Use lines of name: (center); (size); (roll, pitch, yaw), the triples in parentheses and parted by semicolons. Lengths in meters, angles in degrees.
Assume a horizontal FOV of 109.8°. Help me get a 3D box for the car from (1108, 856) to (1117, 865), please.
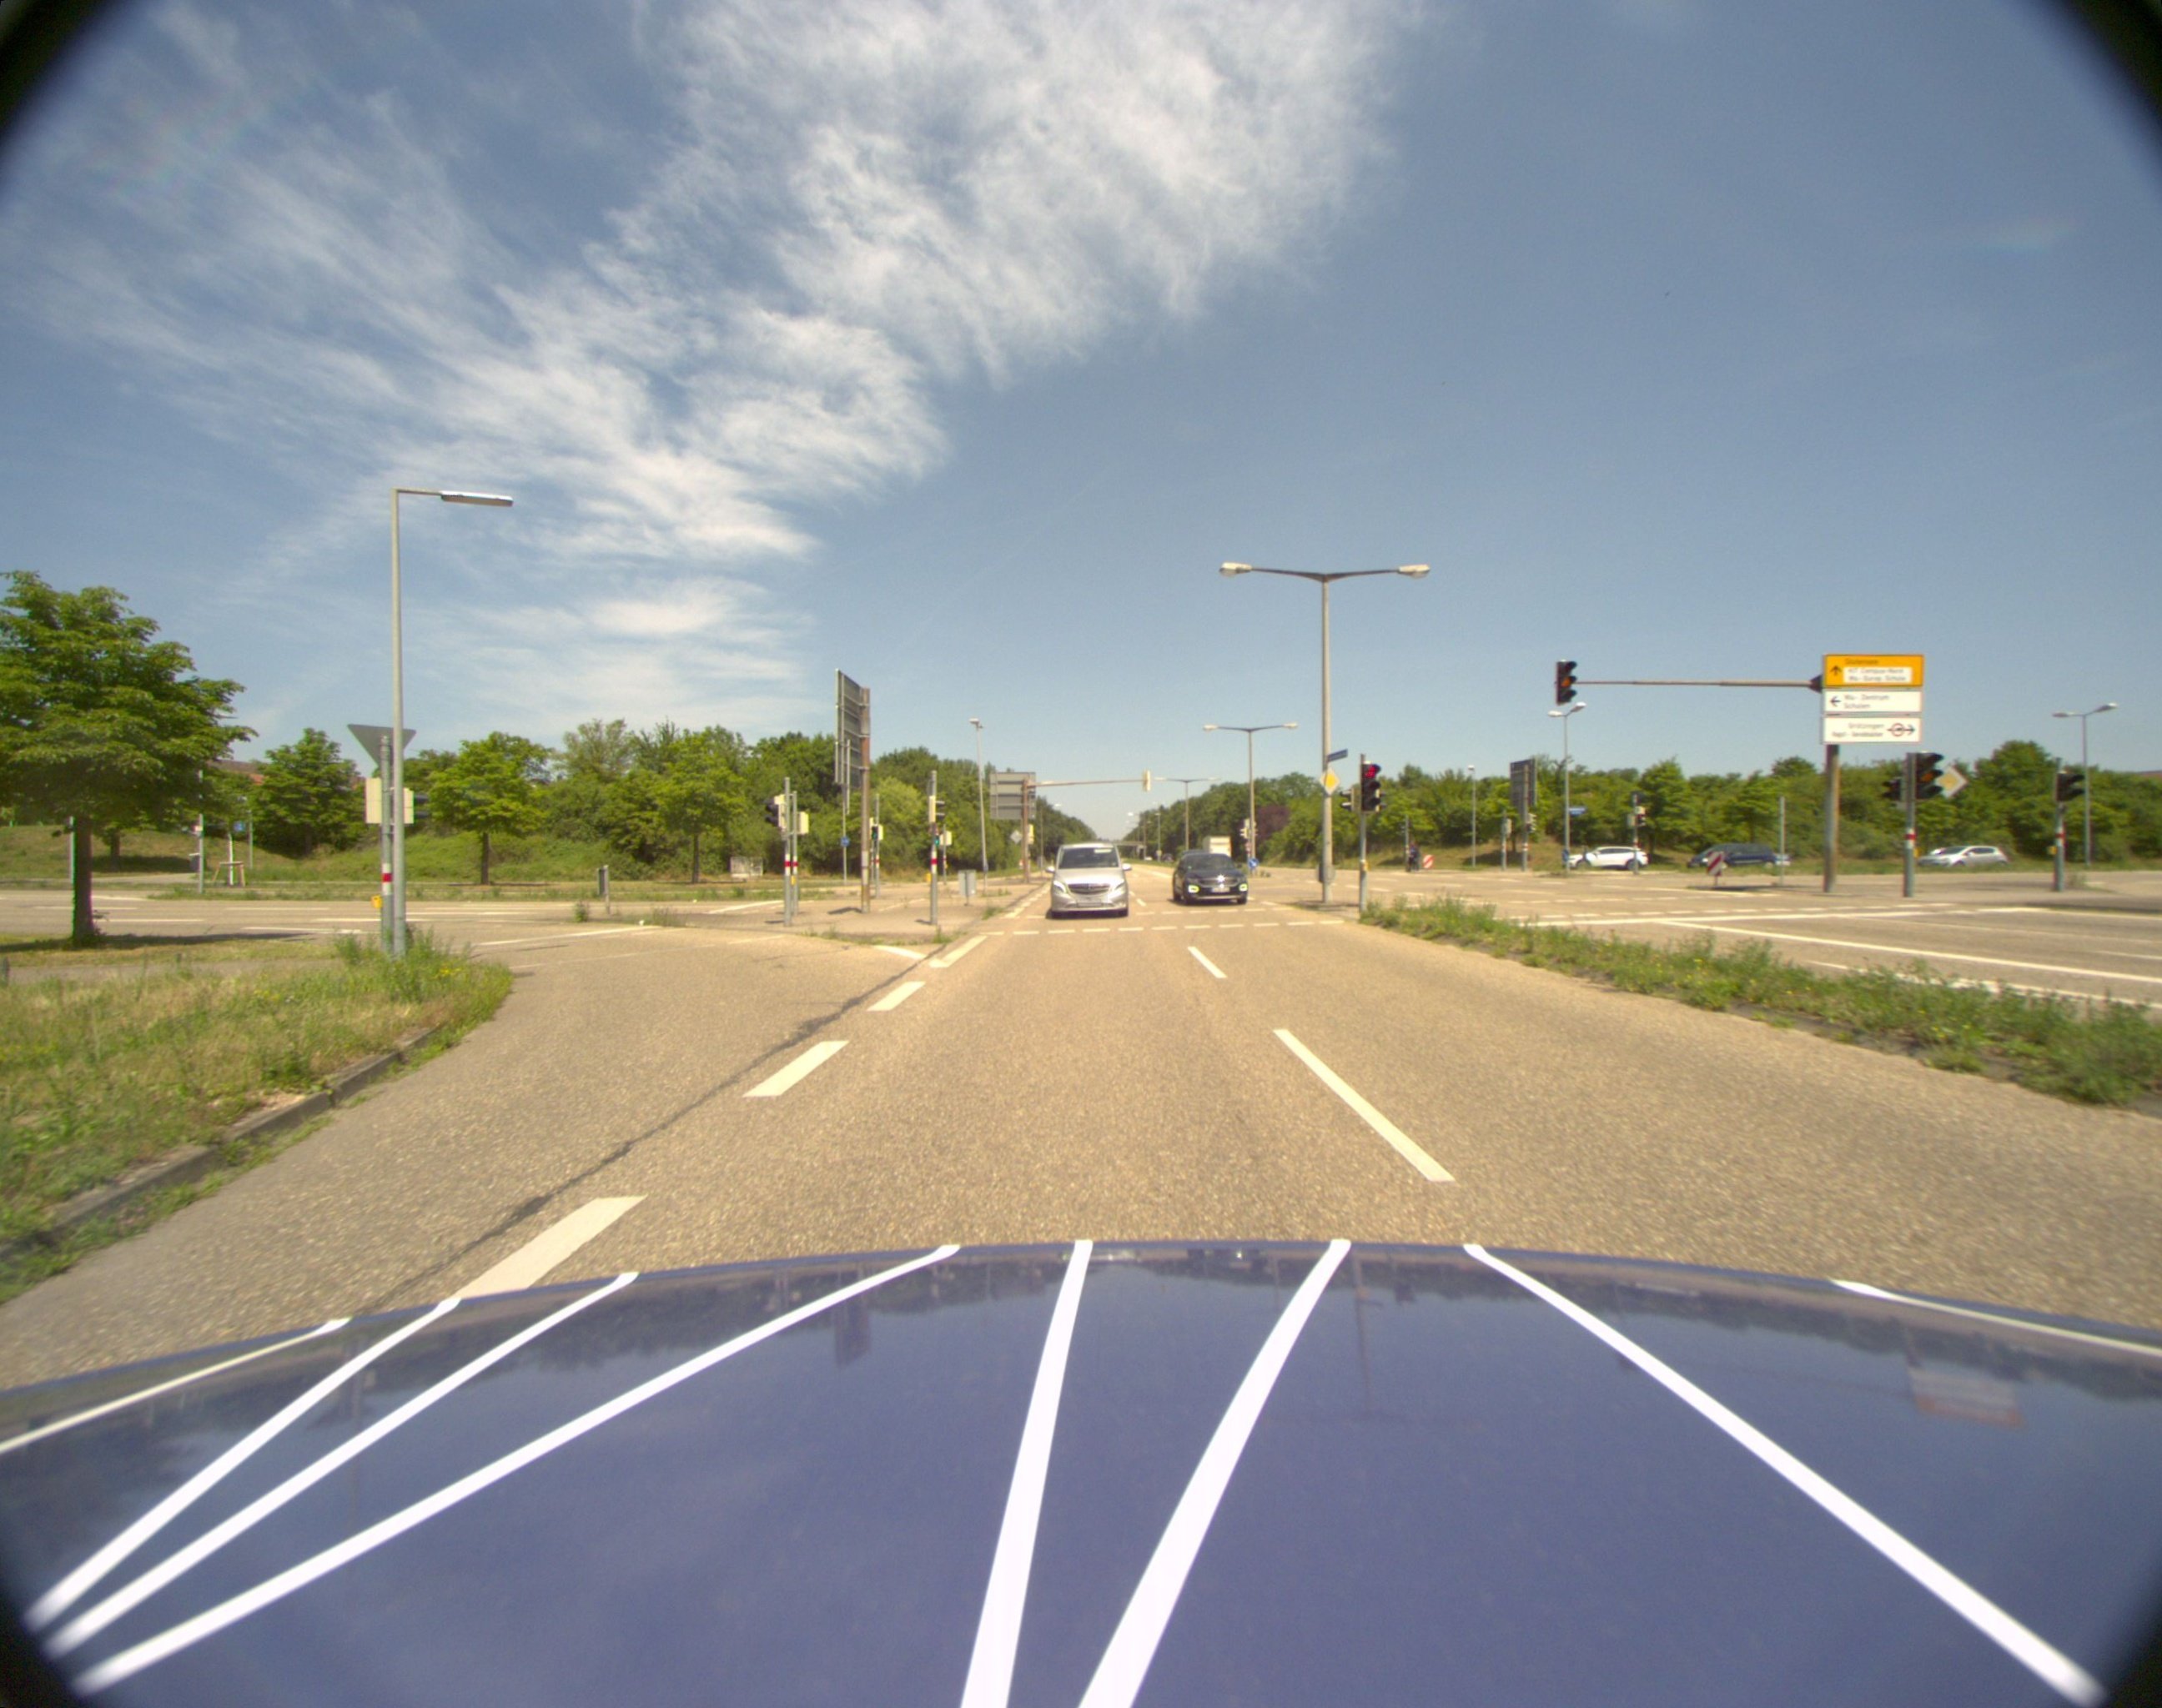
car: (6.587, 1.269, 159.647); (1.735, 1.815, 4.322); (-1, 0, 2)

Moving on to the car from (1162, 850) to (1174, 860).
car: (14.980, 0.233, 131.058); (1.711, 1.653, 4.223); (-1, 0, 2)

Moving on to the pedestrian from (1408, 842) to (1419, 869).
pedestrian: (20.850, 0.089, 47.668); (0.582, 1.726, 0.794); (-1, 1, 21)

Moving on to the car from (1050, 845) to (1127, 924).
car: (0.252, 0.716, 20.494); (1.764, 1.794, 4.855); (-2, 0, 2)

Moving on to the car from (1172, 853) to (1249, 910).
car: (3.853, 0.760, 23.173); (1.738, 1.503, 3.971); (-2, 0, 2)

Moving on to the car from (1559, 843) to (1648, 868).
car: (33.468, 0.101, 48.793); (4.301, 1.492, 1.882); (0, -2, 15)

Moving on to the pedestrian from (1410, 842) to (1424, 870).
pedestrian: (20.652, 0.126, 46.725); (0.723, 1.689, 0.776); (-1, 1, 20)

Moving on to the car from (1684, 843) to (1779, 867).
car: (36.545, 0.059, 42.751); (3.998, 1.328, 1.703); (0, 0, -3)

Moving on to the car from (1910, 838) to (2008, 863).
car: (50.604, -0.184, 43.814); (3.998, 1.353, 1.633); (-1, 0, -4)

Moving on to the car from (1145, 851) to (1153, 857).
car: (18.952, -0.035, 211.171); (1.827, 1.447, 4.168); (-1, 0, -1)

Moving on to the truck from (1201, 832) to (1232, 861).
truck: (17.366, -0.941, 97.572); (2.694, 3.549, 7.267); (-1, 0, 1)
